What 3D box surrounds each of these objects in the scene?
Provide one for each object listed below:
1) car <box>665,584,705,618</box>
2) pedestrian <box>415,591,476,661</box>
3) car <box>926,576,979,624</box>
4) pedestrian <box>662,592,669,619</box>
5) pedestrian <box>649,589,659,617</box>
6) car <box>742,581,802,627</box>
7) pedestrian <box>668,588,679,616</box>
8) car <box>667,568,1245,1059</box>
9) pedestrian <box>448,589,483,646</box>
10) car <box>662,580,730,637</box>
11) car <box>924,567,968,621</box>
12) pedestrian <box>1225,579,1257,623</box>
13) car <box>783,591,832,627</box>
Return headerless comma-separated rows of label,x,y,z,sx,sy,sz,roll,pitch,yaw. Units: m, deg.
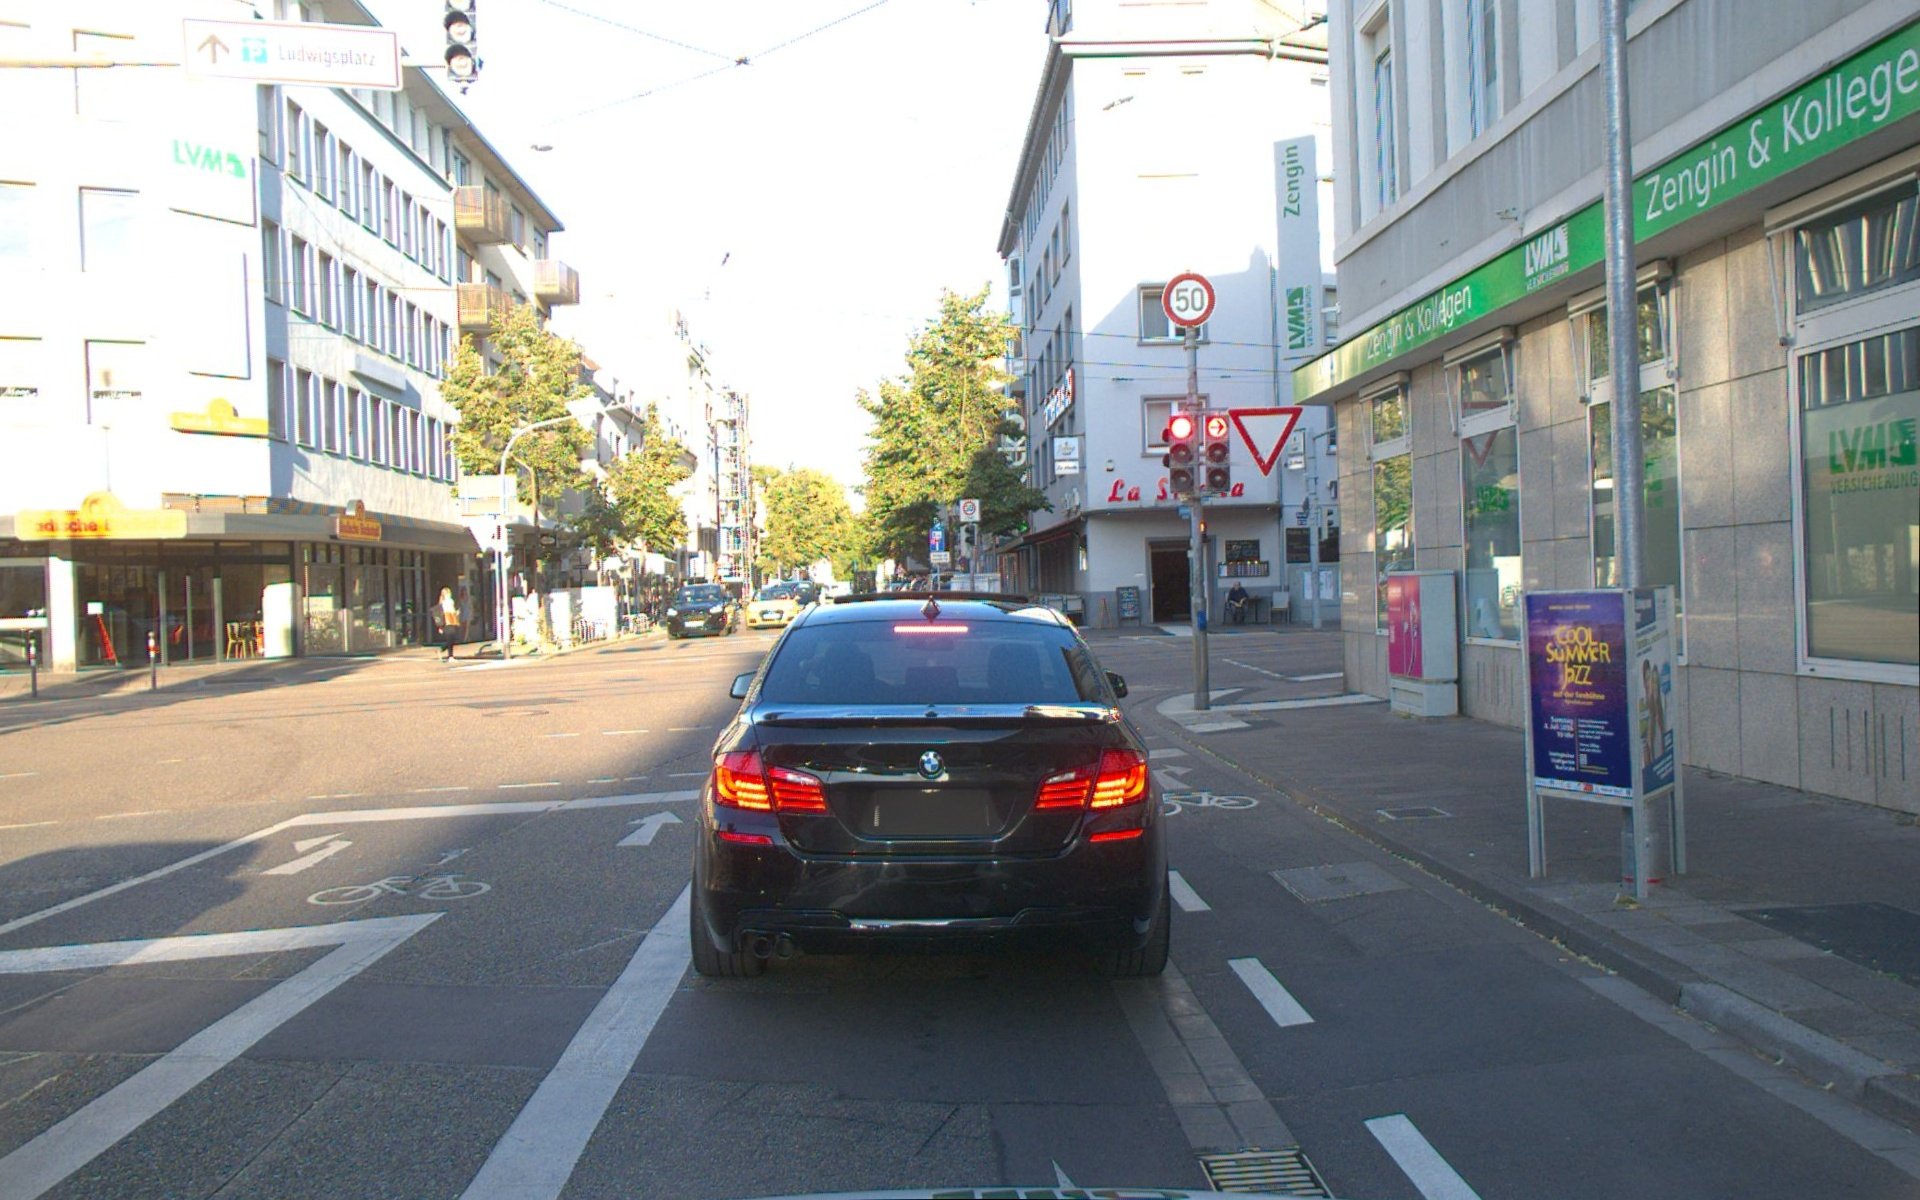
car,-13.068,0.034,78.811,1.701,1.487,3.993,-2,1,-8
pedestrian,-11.804,0.600,37.931,0.889,1.564,0.947,-2,0,31
car,-0.274,0.003,54.586,1.593,1.497,3.393,-1,0,-3
pedestrian,-15.463,0.296,86.756,0.301,1.383,0.284,-2,0,-11
pedestrian,-15.969,0.145,86.345,0.435,1.441,0.525,-2,0,-4
car,-6.576,0.122,57.563,1.956,1.467,3.993,-2,1,-8
pedestrian,-14.993,0.113,86.564,0.435,1.441,0.525,-2,0,-4
car,-0.119,0.653,7.553,1.865,1.567,4.447,0,1,-3
pedestrian,-15.197,0.534,50.839,0.807,1.705,0.871,-2,0,-3
car,-8.271,0.235,52.102,1.956,1.646,3.993,-2,1,-8
car,-0.539,-0.216,60.981,1.393,1.887,3.049,-1,0,-5
pedestrian,7.881,0.026,46.434,0.683,1.177,0.843,-2,0,-4
car,-5.943,0.332,64.338,1.701,1.315,3.993,-2,1,-8
